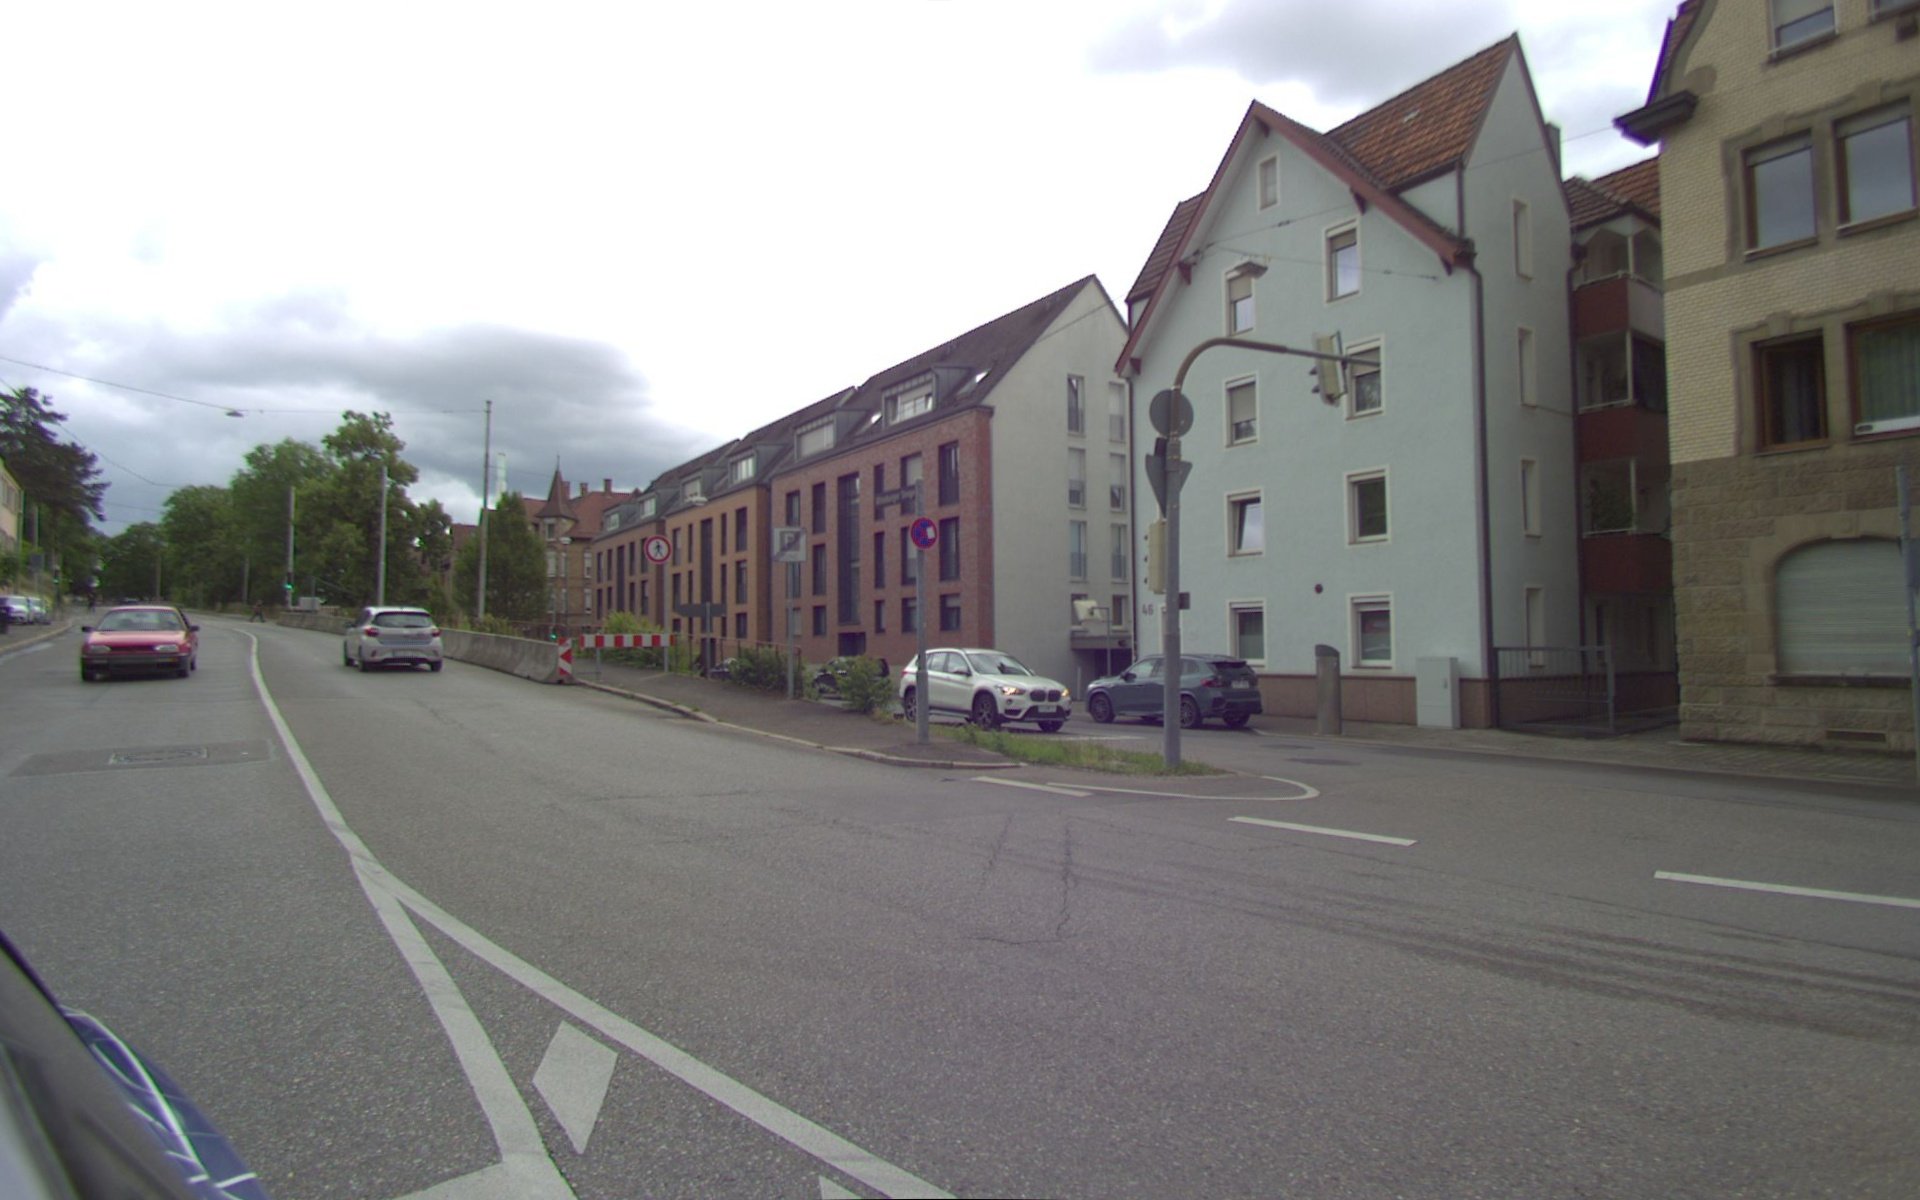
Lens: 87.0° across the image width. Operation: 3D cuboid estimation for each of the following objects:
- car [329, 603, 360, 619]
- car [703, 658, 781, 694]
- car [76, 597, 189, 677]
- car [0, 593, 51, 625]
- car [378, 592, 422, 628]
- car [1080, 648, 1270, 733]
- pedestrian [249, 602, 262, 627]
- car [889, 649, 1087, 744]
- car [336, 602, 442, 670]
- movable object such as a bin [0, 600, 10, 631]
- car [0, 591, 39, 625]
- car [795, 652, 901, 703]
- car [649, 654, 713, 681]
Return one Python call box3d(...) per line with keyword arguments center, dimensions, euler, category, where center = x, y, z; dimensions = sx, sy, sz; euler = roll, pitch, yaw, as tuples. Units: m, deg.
box3d(center=(-54.289, 0.983, 89.178), dimensions=(1.967, 1.364, 4.009), euler=(3, -2, -36), category="car")
box3d(center=(-9.970, 3.423, 46.105), dimensions=(1.967, 1.497, 4.009), euler=(3, -3, -36), category="car")
box3d(center=(-16.701, 0.714, 20.495), dimensions=(1.621, 1.449, 4.007), euler=(1, -1, -39), category="car")
box3d(center=(-49.129, 0.439, 53.131), dimensions=(1.705, 1.586, 4.259), euler=(0, 1, -37), category="car")
box3d(center=(-43.644, 0.732, 78.775), dimensions=(2.524, 2.601, 5.751), euler=(0, 1, -33), category="car")
box3d(center=(4.798, 1.979, 23.150), dimensions=(1.660, 1.567, 4.244), euler=(0, -1, -35), category="car")
box3d(center=(-50.245, 1.029, 72.154), dimensions=(0.723, 1.725, 0.698), euler=(1, -1, -34), category="pedestrian")
box3d(center=(0.448, 1.870, 20.783), dimensions=(1.803, 1.525, 4.434), euler=(0, 0, -35), category="car")
box3d(center=(-13.675, 0.869, 24.165), dimensions=(1.648, 1.479, 3.651), euler=(3, -3, -38), category="car")
box3d(center=(-35.284, 0.555, 36.949), dimensions=(0.798, 1.135, 0.877), euler=(1, -1, -38), category="movable object such as a bin")
box3d(center=(-46.392, 0.387, 49.347), dimensions=(1.771, 1.586, 4.065), euler=(-1, 1, -37), category="car")
box3d(center=(-4.132, 2.771, 36.892), dimensions=(1.968, 1.674, 4.007), euler=(3, -3, -39), category="car")
box3d(center=(-14.403, 3.462, 52.102), dimensions=(1.966, 1.320, 4.010), euler=(3, -4, -34), category="car")
